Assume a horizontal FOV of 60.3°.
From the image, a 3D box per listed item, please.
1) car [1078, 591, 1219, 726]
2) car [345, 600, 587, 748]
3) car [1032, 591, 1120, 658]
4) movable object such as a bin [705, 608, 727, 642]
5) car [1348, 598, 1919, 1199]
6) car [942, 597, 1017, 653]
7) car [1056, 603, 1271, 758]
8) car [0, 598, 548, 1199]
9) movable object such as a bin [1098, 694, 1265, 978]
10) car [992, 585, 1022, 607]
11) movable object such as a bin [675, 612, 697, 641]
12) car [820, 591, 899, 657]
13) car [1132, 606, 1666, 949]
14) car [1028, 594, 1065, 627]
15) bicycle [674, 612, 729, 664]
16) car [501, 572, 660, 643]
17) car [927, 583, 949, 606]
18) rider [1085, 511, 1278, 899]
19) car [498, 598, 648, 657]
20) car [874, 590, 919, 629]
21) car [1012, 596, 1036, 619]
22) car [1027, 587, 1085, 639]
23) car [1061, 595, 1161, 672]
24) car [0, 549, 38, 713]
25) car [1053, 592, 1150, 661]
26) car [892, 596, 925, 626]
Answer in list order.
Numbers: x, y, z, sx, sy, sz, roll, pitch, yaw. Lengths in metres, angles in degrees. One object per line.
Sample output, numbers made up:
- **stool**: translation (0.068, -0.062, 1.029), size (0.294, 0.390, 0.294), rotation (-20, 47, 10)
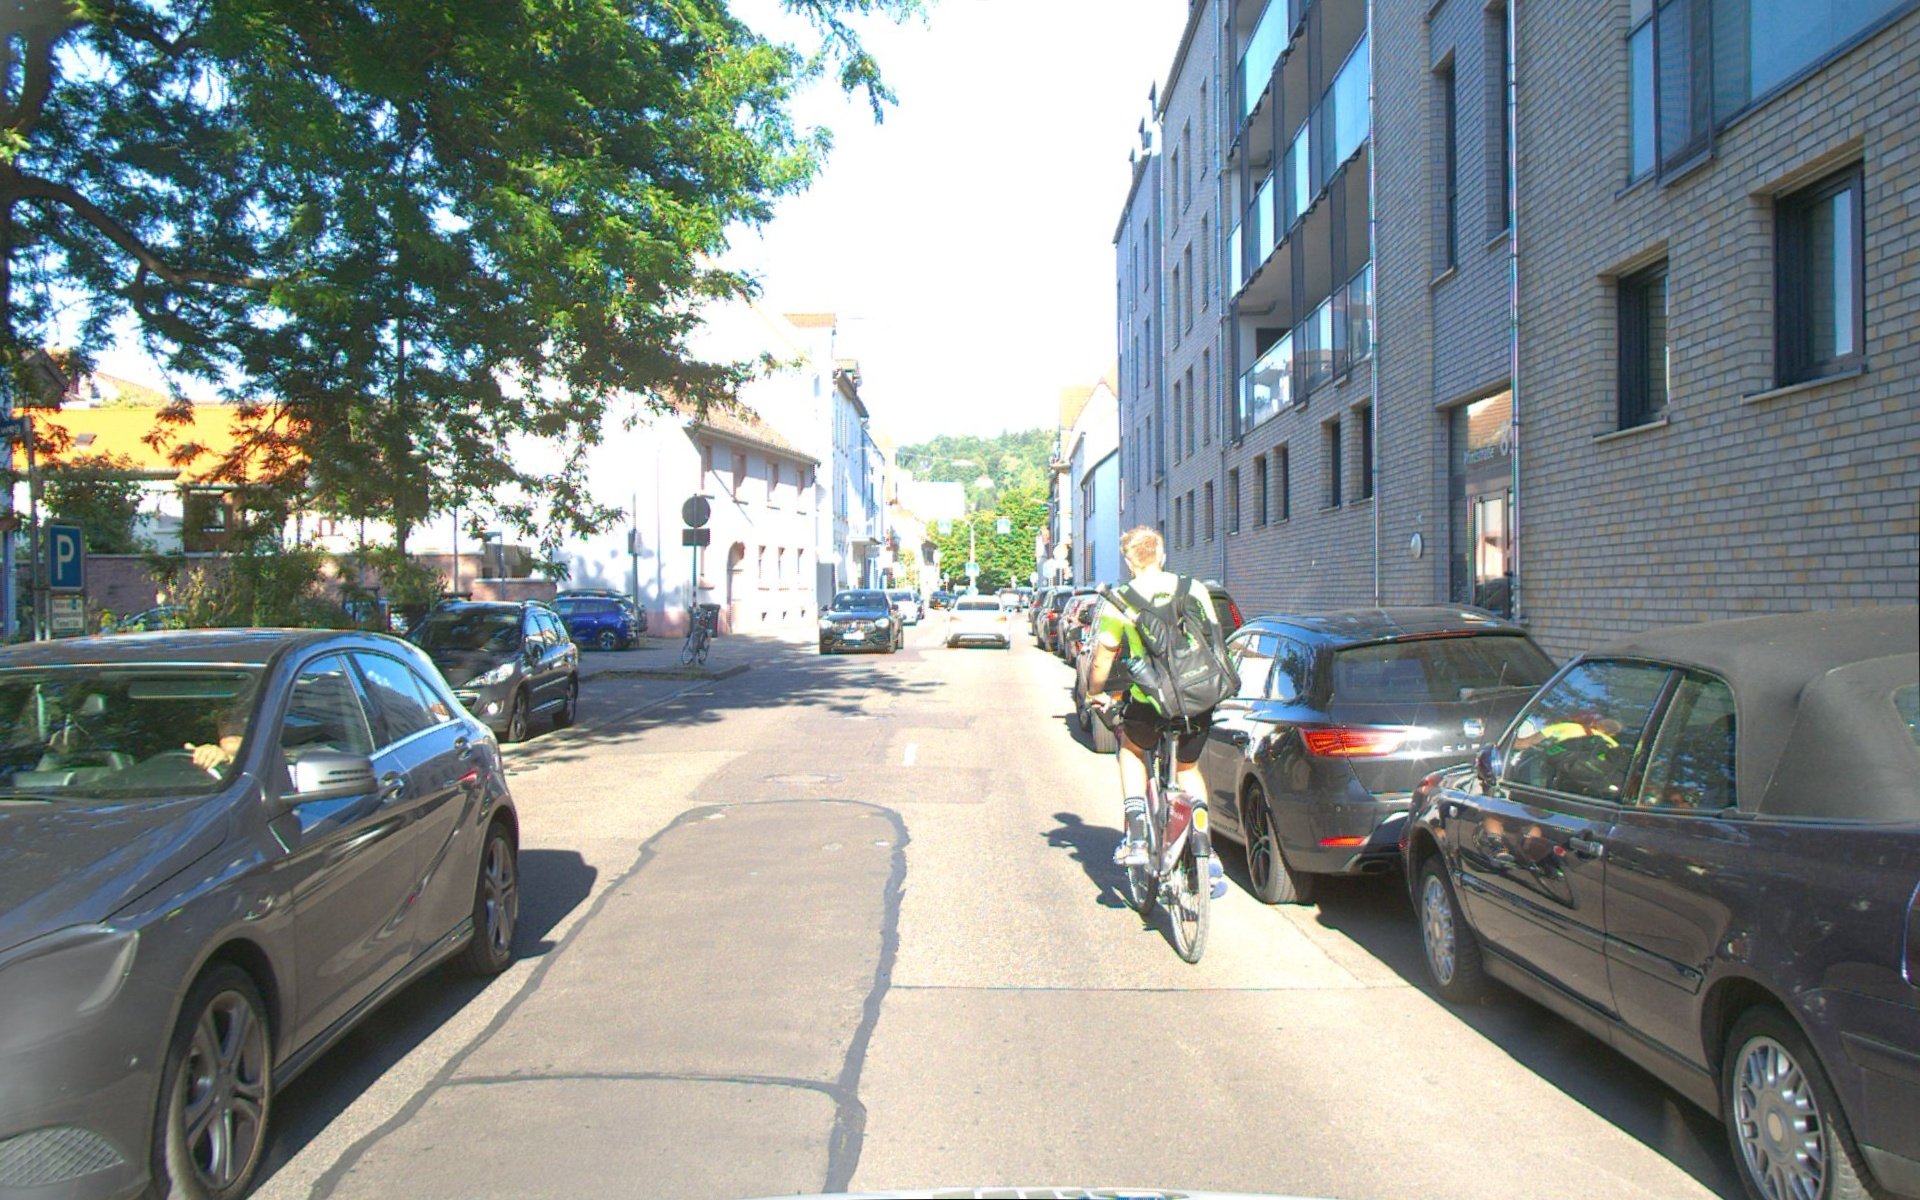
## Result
- **car**: translation (2.688, 0.758, 24.255), size (1.850, 1.742, 4.777), rotation (0, 1, 5)
- **car**: translation (-5.588, 0.769, 19.190), size (1.662, 1.518, 3.999), rotation (0, 0, -1)
- **car**: translation (3.084, 0.622, 44.949), size (1.953, 1.682, 4.761), rotation (0, 1, -2)
- **movable object such as a bin**: translation (-7.957, 0.816, 53.961), size (0.586, 1.113, 0.751), rotation (1, 0, 1)
- **car**: translation (2.660, 0.792, 5.270), size (1.630, 1.542, 4.216), rotation (-2, 0, -3)
- **car**: translation (0.497, 0.672, 46.161), size (1.953, 1.492, 3.999), rotation (0, 0, -1)
- **car**: translation (2.110, 0.785, 18.268), size (1.779, 1.492, 4.269), rotation (0, 0, -1)
- **car**: translation (-2.575, 0.752, 5.206), size (1.771, 1.492, 3.997), rotation (0, 0, -4)
- **movable object such as a bin**: translation (0.965, 1.000, 7.556), size (0.445, 1.051, 1.840), rotation (3, -1, -1)
- **car**: translation (3.223, -0.263, 113.723), size (1.952, 1.492, 4.001), rotation (0, 0, 1)
- **movable object such as a bin**: translation (-8.750, 0.841, 52.859), size (0.586, 0.887, 0.606), rotation (-2, 0, -1)
- **car**: translation (-2.567, 0.591, 42.999), size (1.900, 1.603, 4.317), rotation (0, 0, -2)
- **car**: translation (2.257, 0.812, 9.899), size (1.663, 1.493, 4.717), rotation (-2, 0, -3)
- **car**: translation (4.206, 0.506, 81.245), size (1.705, 1.518, 4.440), rotation (-2, 0, 2)
- **bicycle**: translation (-5.313, 0.761, 34.084), size (0.689, 1.020, 1.942), rotation (1, 0, 4)
- **car**: translation (-11.534, 0.215, 50.400), size (4.273, 1.825, 1.989), rotation (3, 3, 2)
- **car**: translation (-2.027, -0.508, 151.531), size (1.953, 2.049, 4.000), rotation (0, 0, -1)
- **rider**: translation (0.967, 0.450, 7.443), size (0.640, 1.589, 1.083), rotation (3, -1, -1)
- **car**: translation (-10.891, 0.760, 46.689), size (3.689, 1.556, 2.001), rotation (-1, 1, 1)
- **car**: translation (-2.878, 0.410, 75.235), size (1.953, 1.676, 5.220), rotation (0, 0, -2)
- **car**: translation (5.669, 0.649, 146.010), size (1.970, 1.885, 4.000), rotation (1, 1, 0)
- **car**: translation (3.334, 0.426, 57.861), size (1.816, 1.665, 4.624), rotation (-3, 0, 2)
- **car**: translation (3.134, 0.655, 34.917), size (1.678, 1.429, 4.073), rotation (-4, 0, 0)
- **car**: translation (-12.142, 0.379, 17.914), size (1.806, 1.928, 4.903), rotation (0, 0, -4)
- **car**: translation (3.341, 0.591, 39.838), size (1.953, 1.532, 4.367), rotation (0, 1, 0)
- **car**: translation (-2.826, 0.622, 91.776), size (1.695, 1.526, 3.958), rotation (-1, -3, 0)
